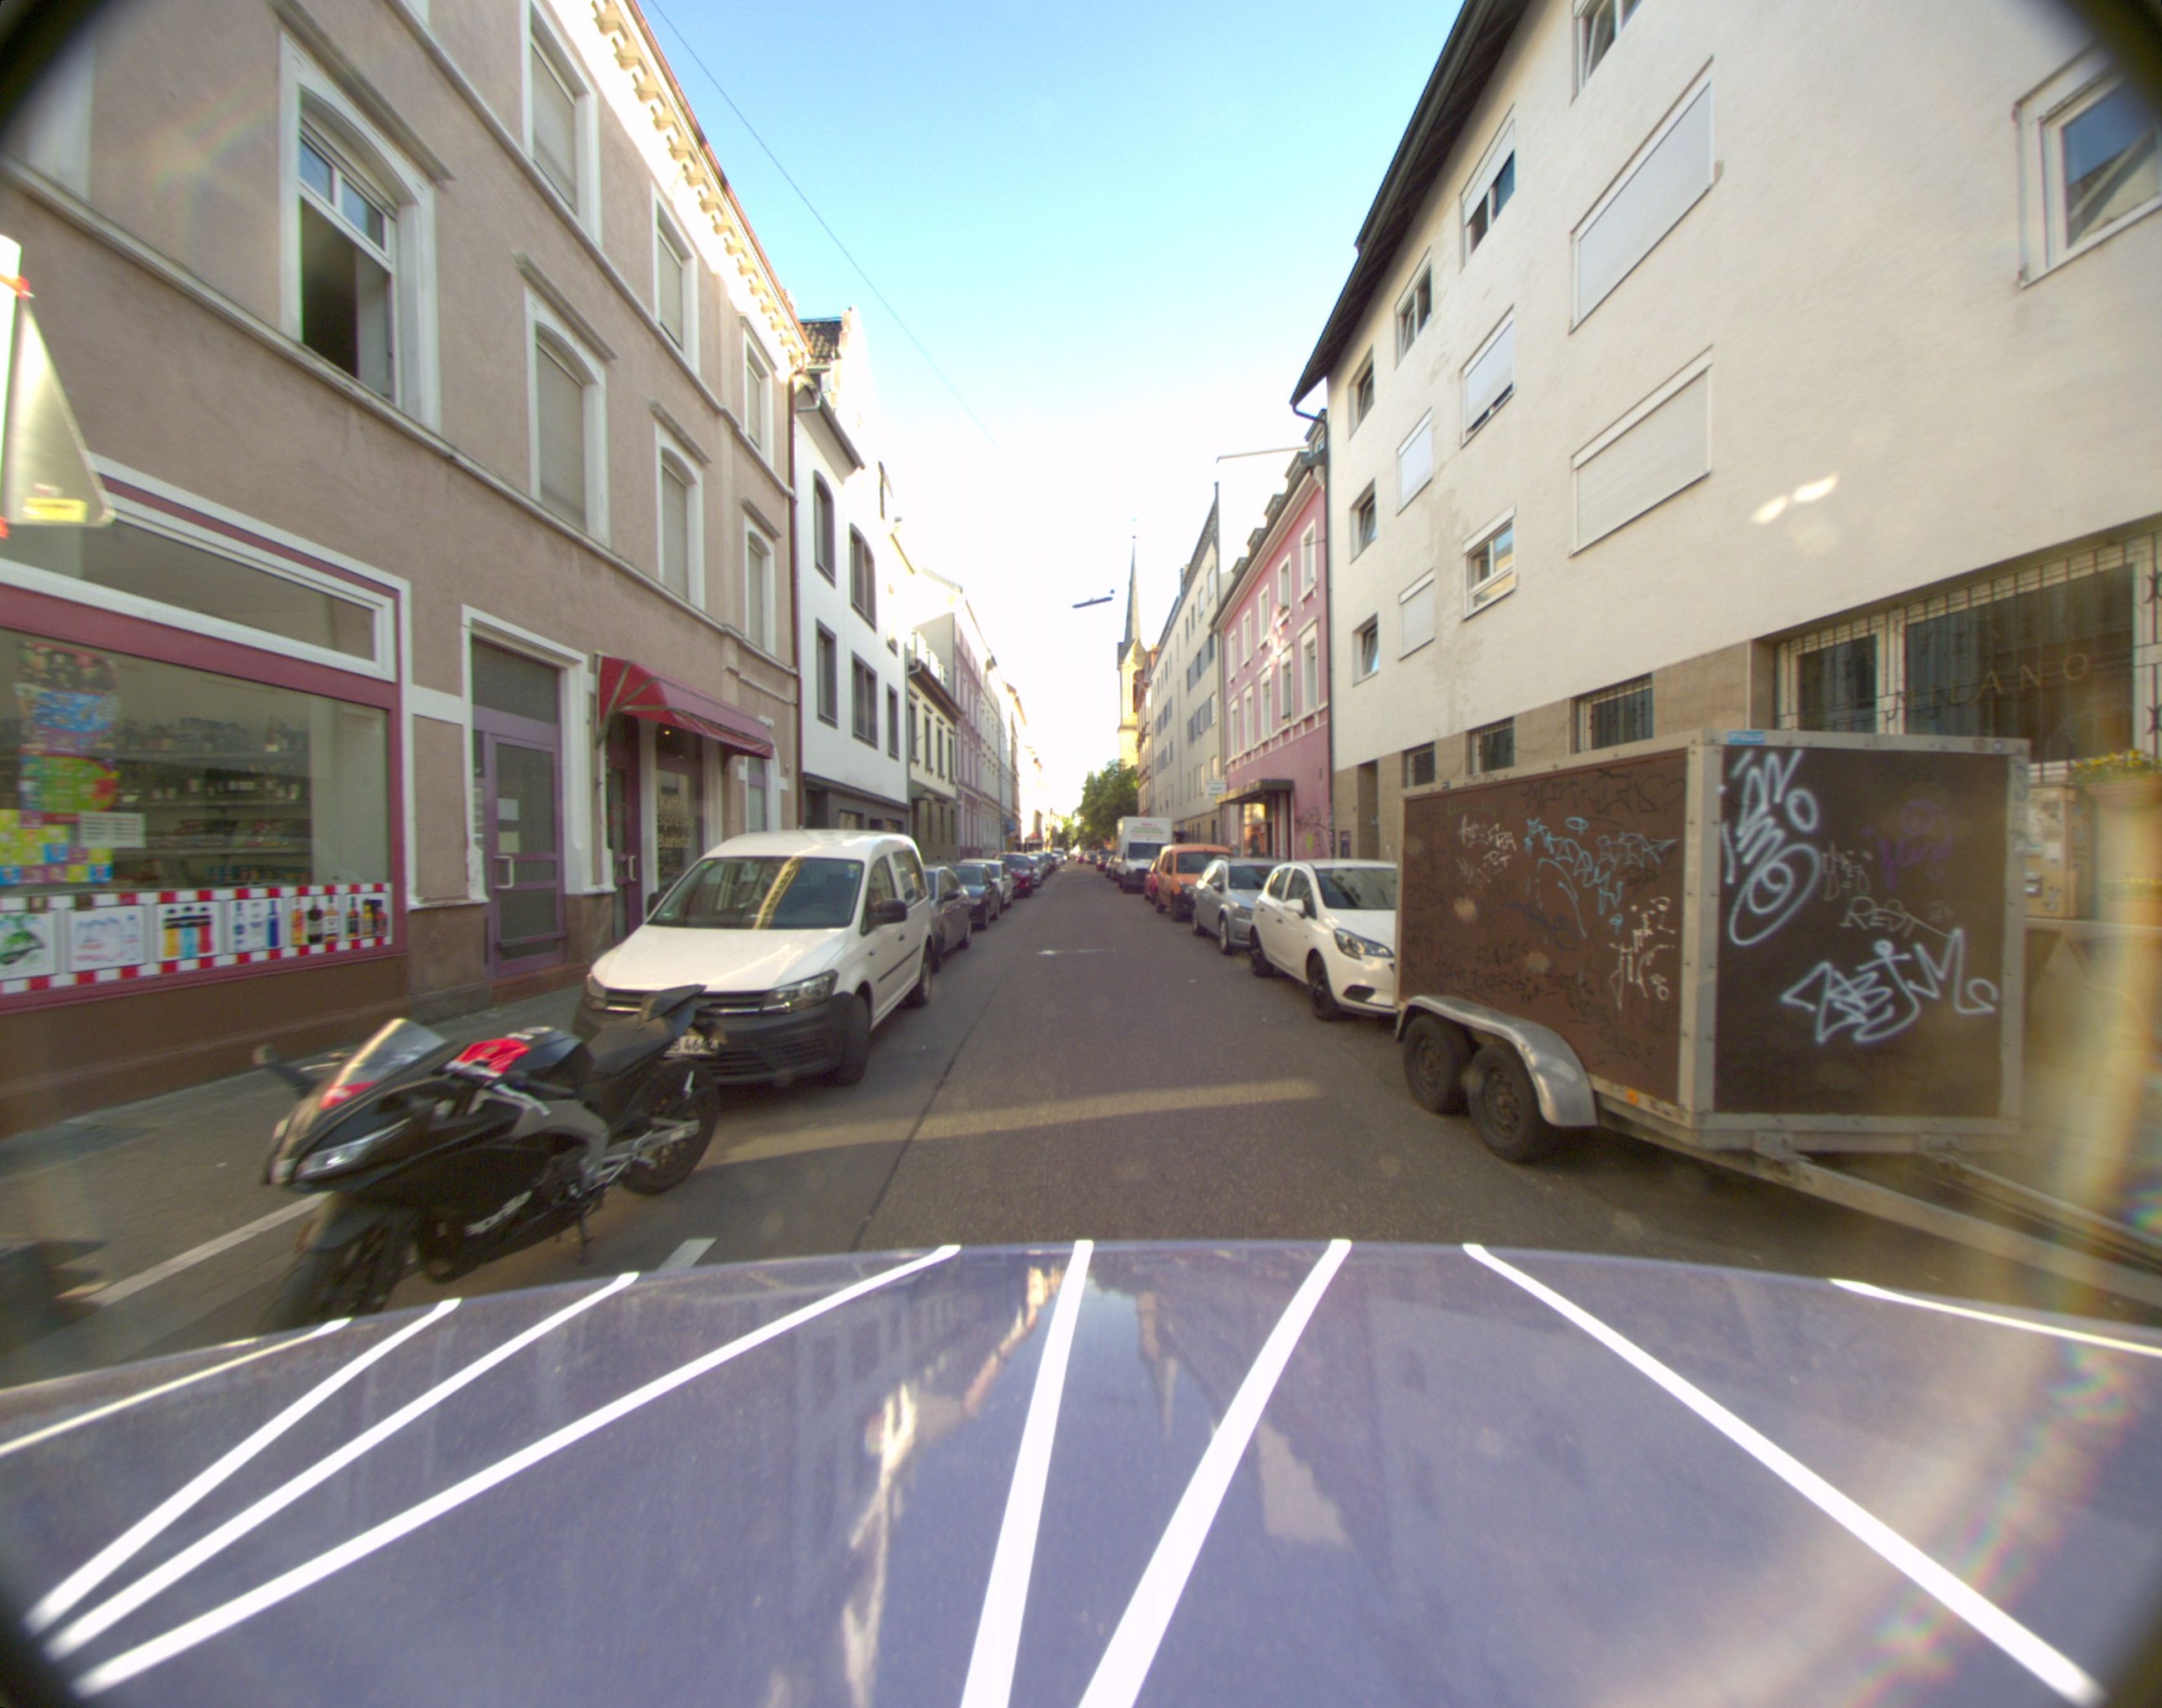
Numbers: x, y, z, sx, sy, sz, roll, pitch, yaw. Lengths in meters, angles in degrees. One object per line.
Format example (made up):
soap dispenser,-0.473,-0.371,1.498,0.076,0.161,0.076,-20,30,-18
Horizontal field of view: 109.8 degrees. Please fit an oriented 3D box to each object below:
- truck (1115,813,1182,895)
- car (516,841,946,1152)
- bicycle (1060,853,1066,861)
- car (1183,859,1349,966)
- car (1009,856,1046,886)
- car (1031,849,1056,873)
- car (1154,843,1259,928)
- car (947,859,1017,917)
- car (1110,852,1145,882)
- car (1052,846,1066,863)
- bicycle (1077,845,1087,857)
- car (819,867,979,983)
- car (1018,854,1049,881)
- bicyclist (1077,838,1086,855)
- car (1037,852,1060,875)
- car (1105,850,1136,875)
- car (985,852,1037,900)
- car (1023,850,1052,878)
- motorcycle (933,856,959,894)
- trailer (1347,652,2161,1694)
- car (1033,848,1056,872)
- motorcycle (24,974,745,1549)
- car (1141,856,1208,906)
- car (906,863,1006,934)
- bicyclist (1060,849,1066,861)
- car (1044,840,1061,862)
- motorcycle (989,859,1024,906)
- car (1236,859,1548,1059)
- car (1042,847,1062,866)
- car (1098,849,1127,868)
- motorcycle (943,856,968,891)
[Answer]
truck,2.771,-0.048,32.932,2.296,3.165,7.043,0,1,1
car,-2.413,0.805,6.593,1.753,1.806,4.368,0,1,-1
bicycle,-2.603,0.451,110.523,0.729,1.173,2.488,-2,1,-3
car,2.938,0.853,13.078,1.678,1.488,4.530,0,0,-1
car,-2.650,0.821,38.218,1.613,1.388,3.880,0,1,-1
car,-2.716,0.480,56.404,1.713,1.721,4.219,0,1,-1
car,2.930,0.661,18.588,1.807,1.834,4.243,0,1,-1
car,-2.815,0.927,22.229,1.620,1.495,3.771,0,1,-1
car,2.598,0.693,43.230,1.687,1.579,3.913,2,1,-1
car,-3.669,0.041,126.786,1.999,2.777,4.562,-2,1,-4
bicycle,0.102,-0.431,105.130,1.020,1.641,3.546,-2,1,-5
car,-2.638,0.960,11.847,1.613,1.400,3.880,0,1,-1
car,-2.732,0.762,44.536,1.613,1.444,3.880,0,1,-1
bicyclist,0.077,-1.066,105.033,1.020,2.280,1.531,-2,1,-5
car,-3.012,0.863,70.546,1.999,2.002,4.562,-2,1,-3
car,2.465,0.531,48.665,1.687,1.482,3.913,2,1,-1
car,-2.715,0.813,30.227,1.713,1.721,4.407,0,1,-1
car,-2.821,0.628,49.706,1.713,1.721,4.219,0,1,-1
motorcycle,-5.346,0.819,30.183,0.667,1.388,2.037,-2,1,-1
trailer,2.865,0.609,3.300,1.666,2.049,4.362,0,1,-3
car,-2.943,0.461,61.769,1.713,1.802,4.219,0,1,-1
motorcycle,-2.248,1.187,2.938,0.720,1.080,1.997,0,1,10
car,2.953,0.816,24.680,1.687,1.458,3.659,0,1,-1
car,-2.770,0.941,17.616,1.736,1.388,3.880,0,1,-1
bicyclist,-2.618,0.114,110.494,0.716,1.650,0.876,-2,1,-3
car,-3.796,-0.381,100.727,1.999,2.777,4.562,-2,1,-4
motorcycle,-2.545,0.949,26.200,0.990,1.481,2.267,0,1,-1
car,2.897,0.865,8.037,1.681,1.546,3.817,0,1,-1
car,-3.171,0.238,83.220,1.999,2.002,4.562,-2,1,-4
car,2.679,0.368,65.476,1.927,1.522,4.562,-2,1,-4
motorcycle,-5.353,0.791,32.410,0.697,1.388,2.037,-2,1,-1
